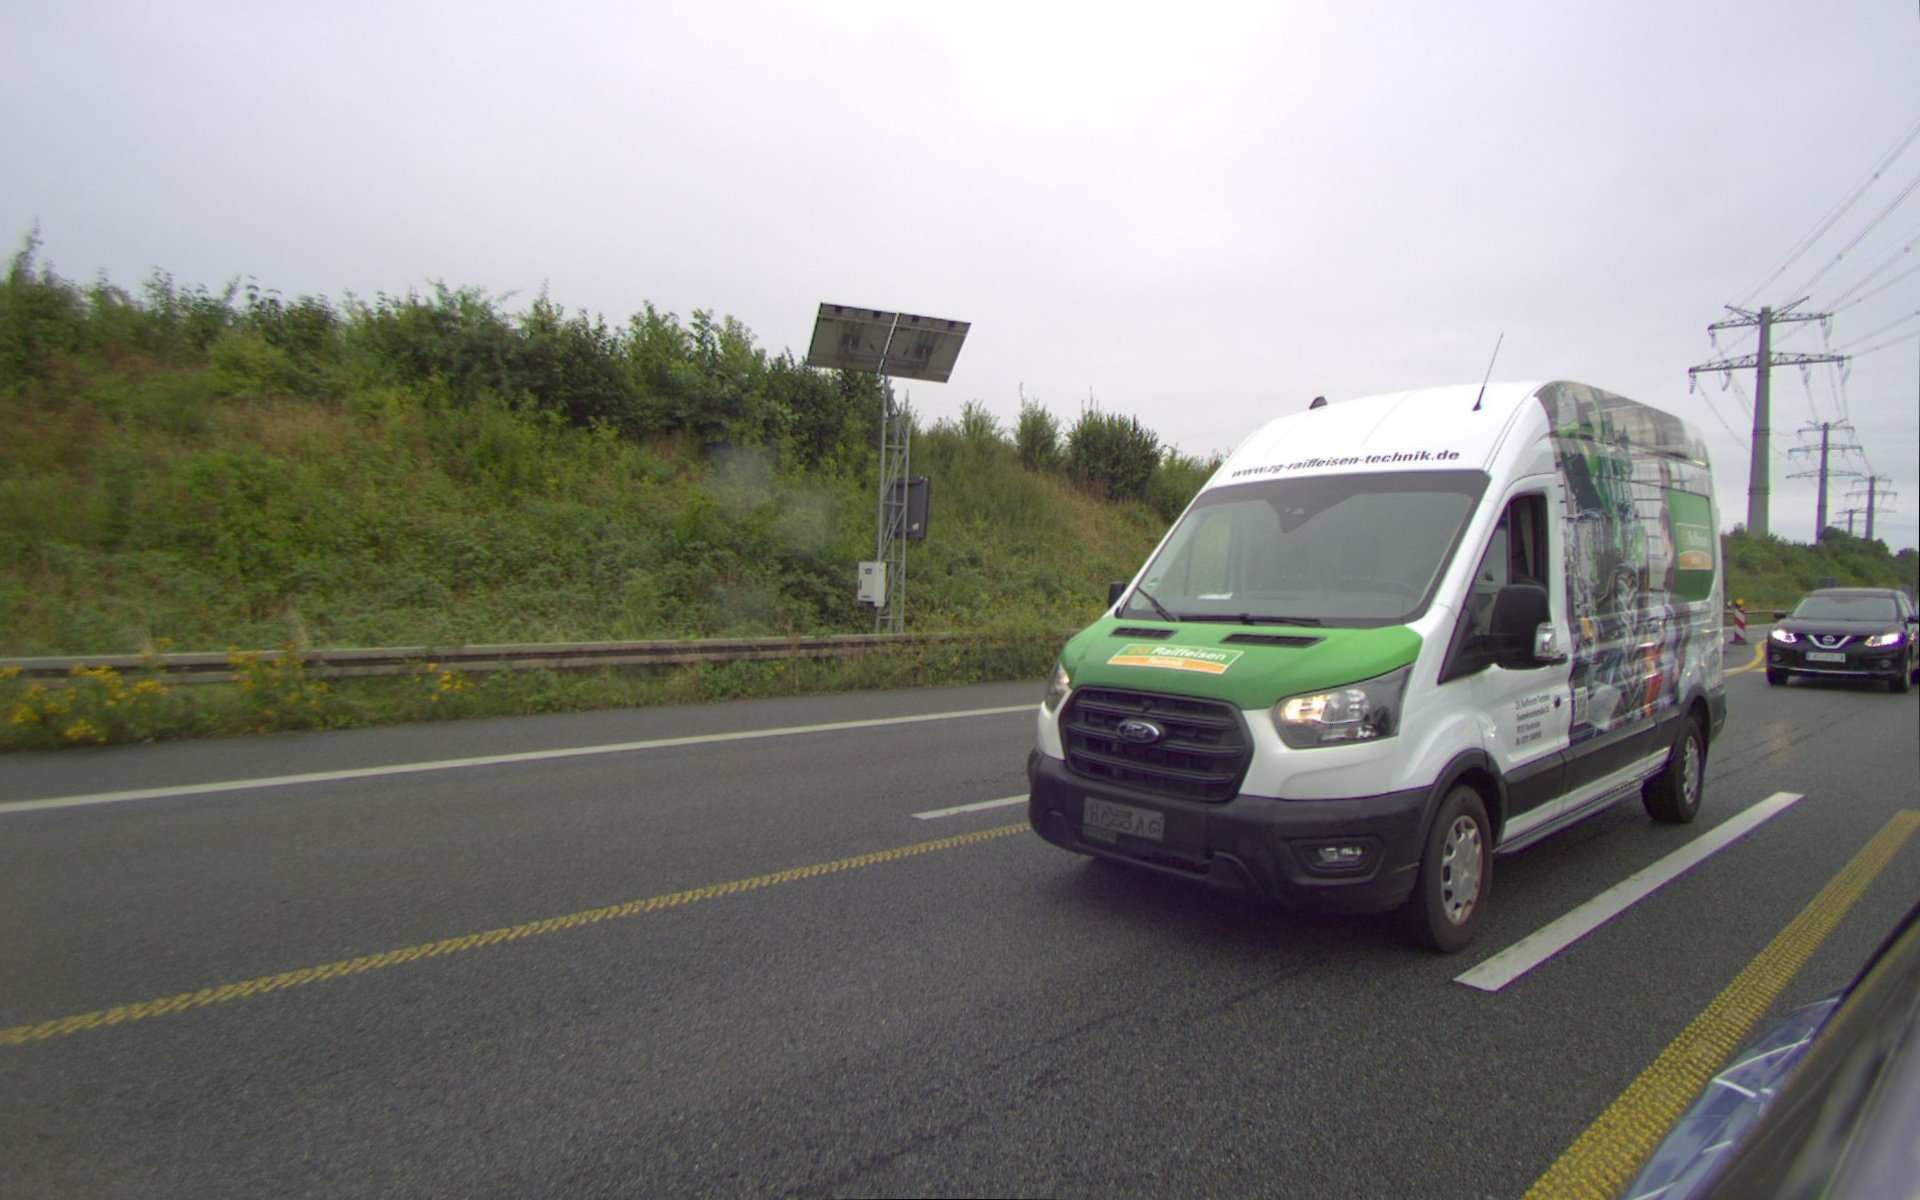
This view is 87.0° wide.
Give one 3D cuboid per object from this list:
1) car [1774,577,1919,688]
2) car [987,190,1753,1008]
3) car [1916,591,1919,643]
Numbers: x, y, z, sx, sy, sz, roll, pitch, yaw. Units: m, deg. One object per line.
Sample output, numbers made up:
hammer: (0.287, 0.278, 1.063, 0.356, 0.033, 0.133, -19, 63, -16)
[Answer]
car: (15.597, 0.476, 17.368, 4.203, 1.679, 1.688, 0, 1, -39)
car: (2.911, -0.028, 6.131, 5.657, 2.817, 1.997, 0, 1, -42)
car: (30.604, 0.506, 30.855, 4.079, 1.552, 1.802, 0, 1, -42)
